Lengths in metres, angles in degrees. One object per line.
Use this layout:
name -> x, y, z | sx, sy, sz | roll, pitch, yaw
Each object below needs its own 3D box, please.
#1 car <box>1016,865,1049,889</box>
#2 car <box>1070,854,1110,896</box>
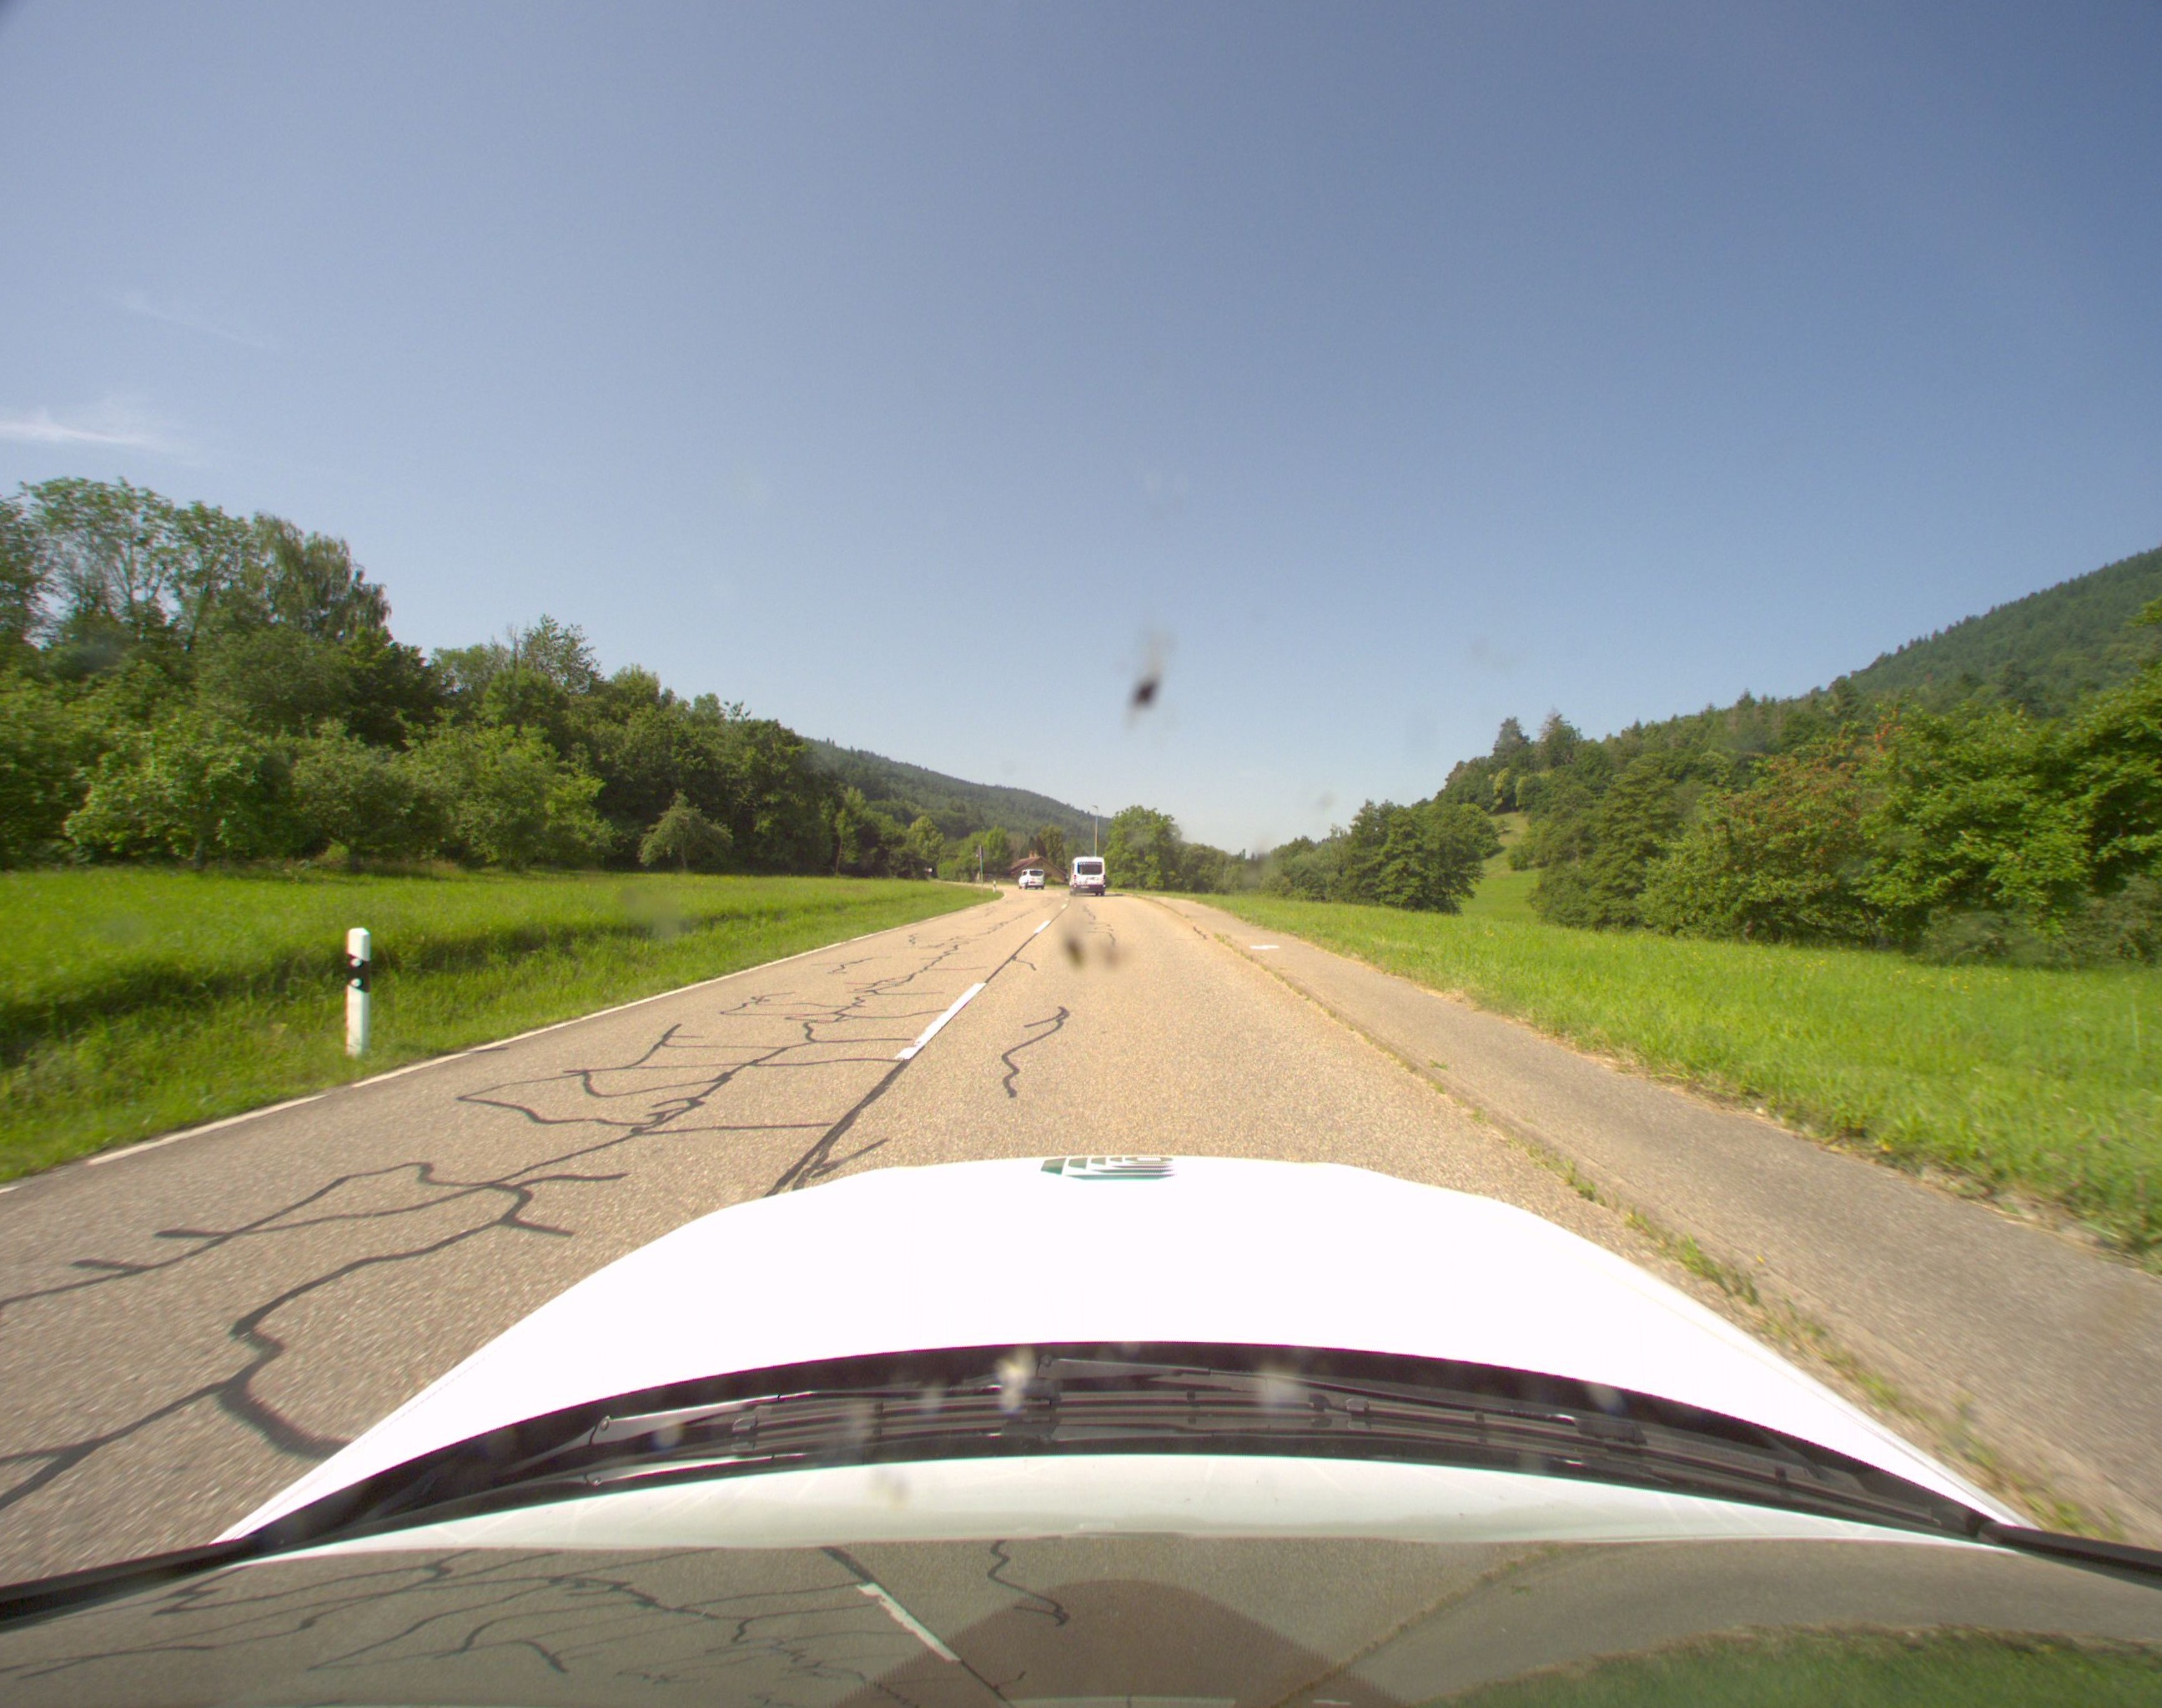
car -> -4.987, 2.345, 83.084 | 2.228, 2.287, 4.955 | -2, -2, -17
car -> 0.515, 1.369, 52.787 | 2.217, 2.526, 4.979 | -3, -2, -2
